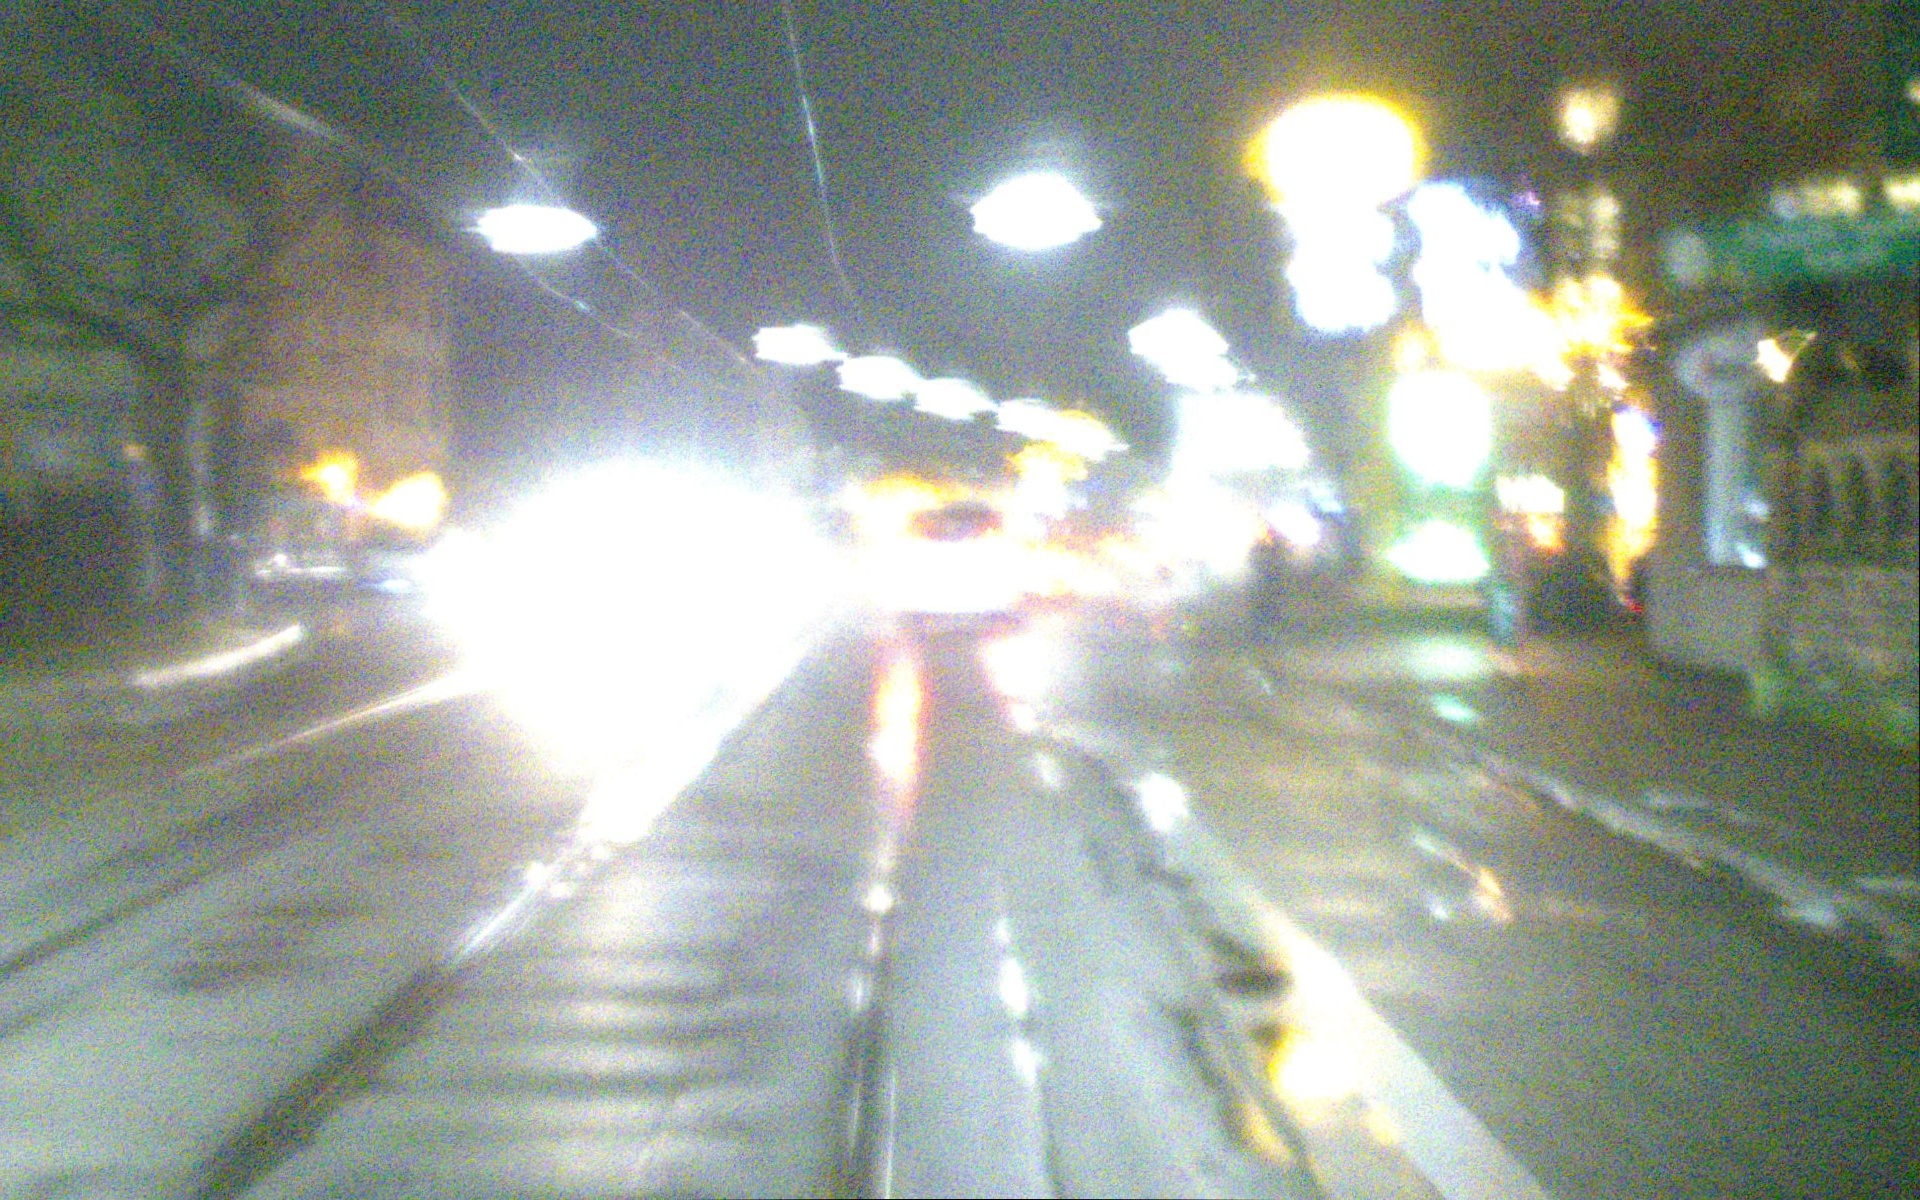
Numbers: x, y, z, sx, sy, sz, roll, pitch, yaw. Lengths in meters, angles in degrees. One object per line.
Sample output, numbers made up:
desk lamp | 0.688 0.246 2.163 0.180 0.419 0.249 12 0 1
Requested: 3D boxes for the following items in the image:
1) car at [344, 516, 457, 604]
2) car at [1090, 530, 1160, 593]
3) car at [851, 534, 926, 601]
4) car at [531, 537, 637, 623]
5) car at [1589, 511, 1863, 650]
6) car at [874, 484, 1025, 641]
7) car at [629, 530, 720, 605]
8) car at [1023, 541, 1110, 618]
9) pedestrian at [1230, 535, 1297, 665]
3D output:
car | -13.144 -0.951 81.001 1.993 2.007 4.000 0 1 0
car | 5.391 -1.260 112.686 1.993 2.007 4.000 0 1 -1
car | -1.960 -0.902 94.168 1.993 1.809 4.000 0 1 -1
car | -7.697 -0.424 70.604 1.993 1.718 4.077 0 1 -4
car | 9.883 -0.268 44.180 2.028 1.694 4.114 1 1 35
car | -0.216 -0.594 53.743 2.244 2.353 4.394 0 1 -2
car | -7.532 -0.874 91.042 2.319 1.925 4.964 0 1 -4
car | 2.526 -0.505 82.052 2.016 1.809 4.000 0 1 2
pedestrian | 4.181 -0.004 47.335 0.778 1.770 0.693 0 1 17
